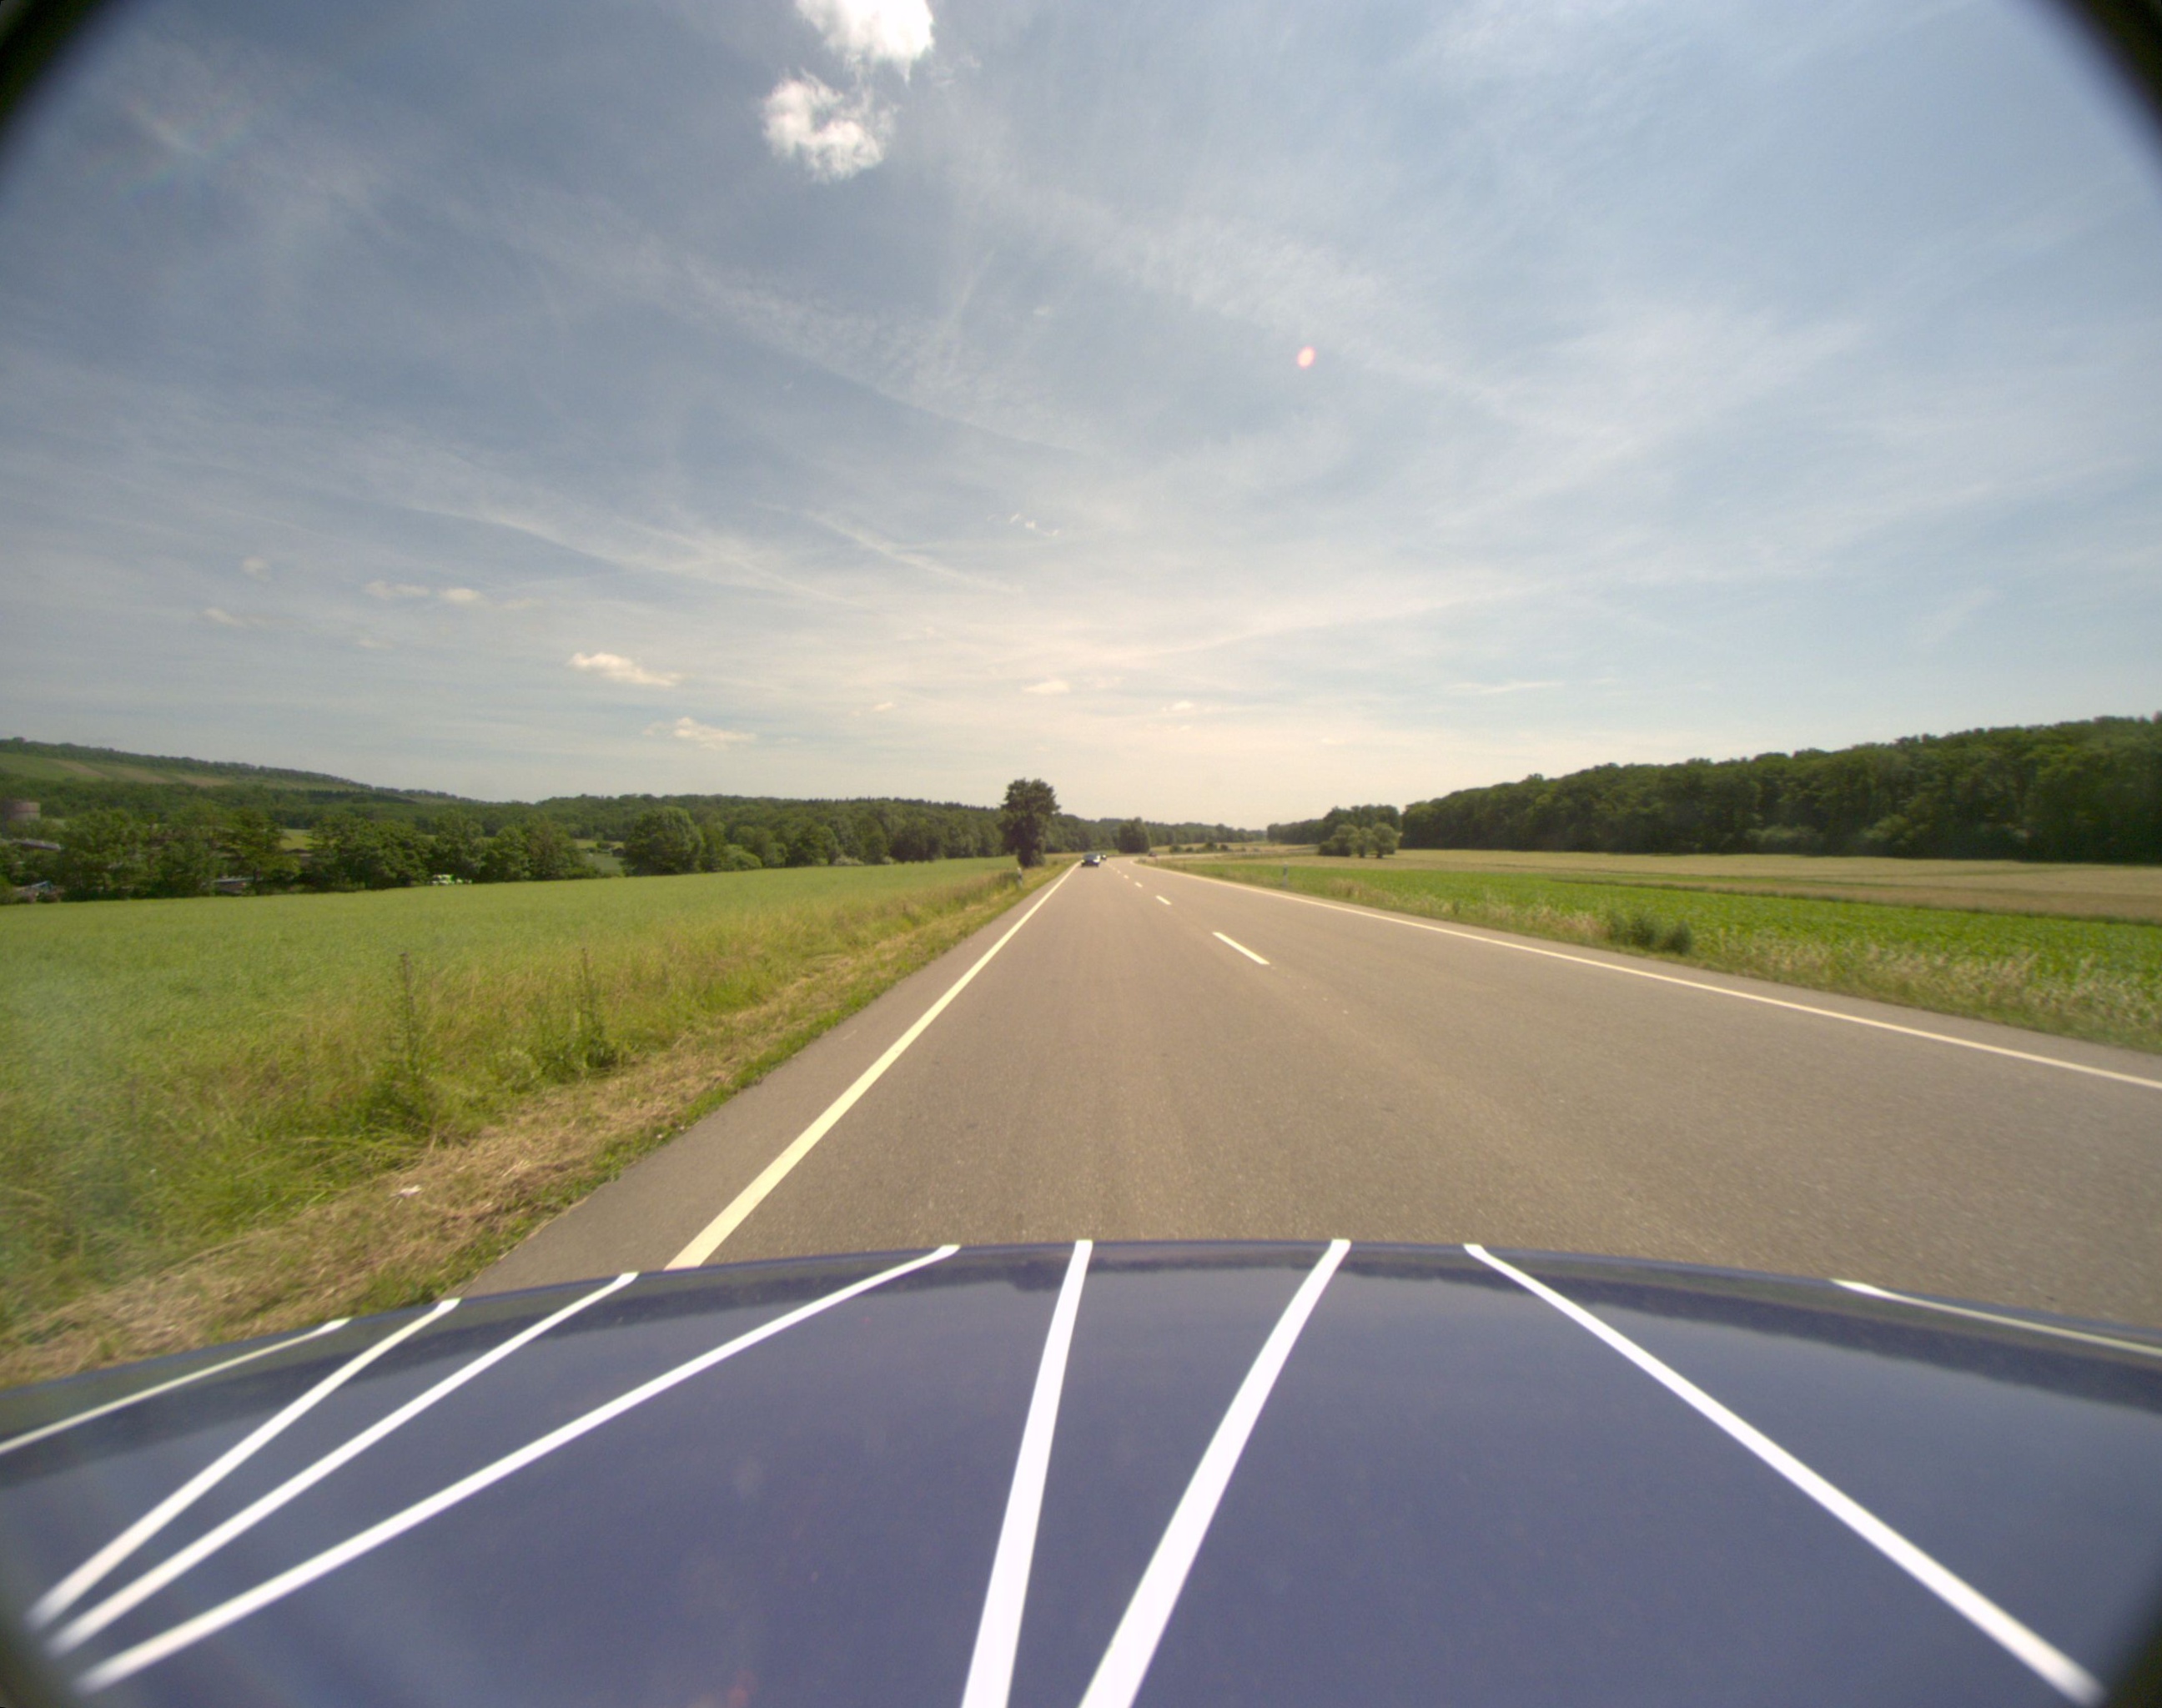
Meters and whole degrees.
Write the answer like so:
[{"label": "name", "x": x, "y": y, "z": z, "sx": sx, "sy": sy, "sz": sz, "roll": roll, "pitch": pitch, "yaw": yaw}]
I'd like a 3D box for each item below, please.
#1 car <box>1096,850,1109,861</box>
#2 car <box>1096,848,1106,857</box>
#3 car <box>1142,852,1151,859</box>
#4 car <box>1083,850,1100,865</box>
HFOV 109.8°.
[{"label": "car", "x": 2.828, "y": 0.153, "z": 100.199, "sx": 1.621, "sy": 1.428, "sz": 3.443, "roll": 1, "pitch": 1, "yaw": 1}, {"label": "car", "x": 3.568, "y": -0.299, "z": 135.306, "sx": 1.621, "sy": 1.429, "sz": 3.442, "roll": 1, "pitch": 3, "yaw": 1}, {"label": "car", "x": 13.938, "y": 0.313, "z": 162.064, "sx": 1.666, "sy": 1.543, "sz": 3.601, "roll": 0, "pitch": 0, "yaw": 1}, {"label": "car", "x": 1.020, "y": 0.327, "z": 76.895, "sx": 1.621, "sy": 1.428, "sz": 3.442, "roll": -1, "pitch": 1, "yaw": 0}]
